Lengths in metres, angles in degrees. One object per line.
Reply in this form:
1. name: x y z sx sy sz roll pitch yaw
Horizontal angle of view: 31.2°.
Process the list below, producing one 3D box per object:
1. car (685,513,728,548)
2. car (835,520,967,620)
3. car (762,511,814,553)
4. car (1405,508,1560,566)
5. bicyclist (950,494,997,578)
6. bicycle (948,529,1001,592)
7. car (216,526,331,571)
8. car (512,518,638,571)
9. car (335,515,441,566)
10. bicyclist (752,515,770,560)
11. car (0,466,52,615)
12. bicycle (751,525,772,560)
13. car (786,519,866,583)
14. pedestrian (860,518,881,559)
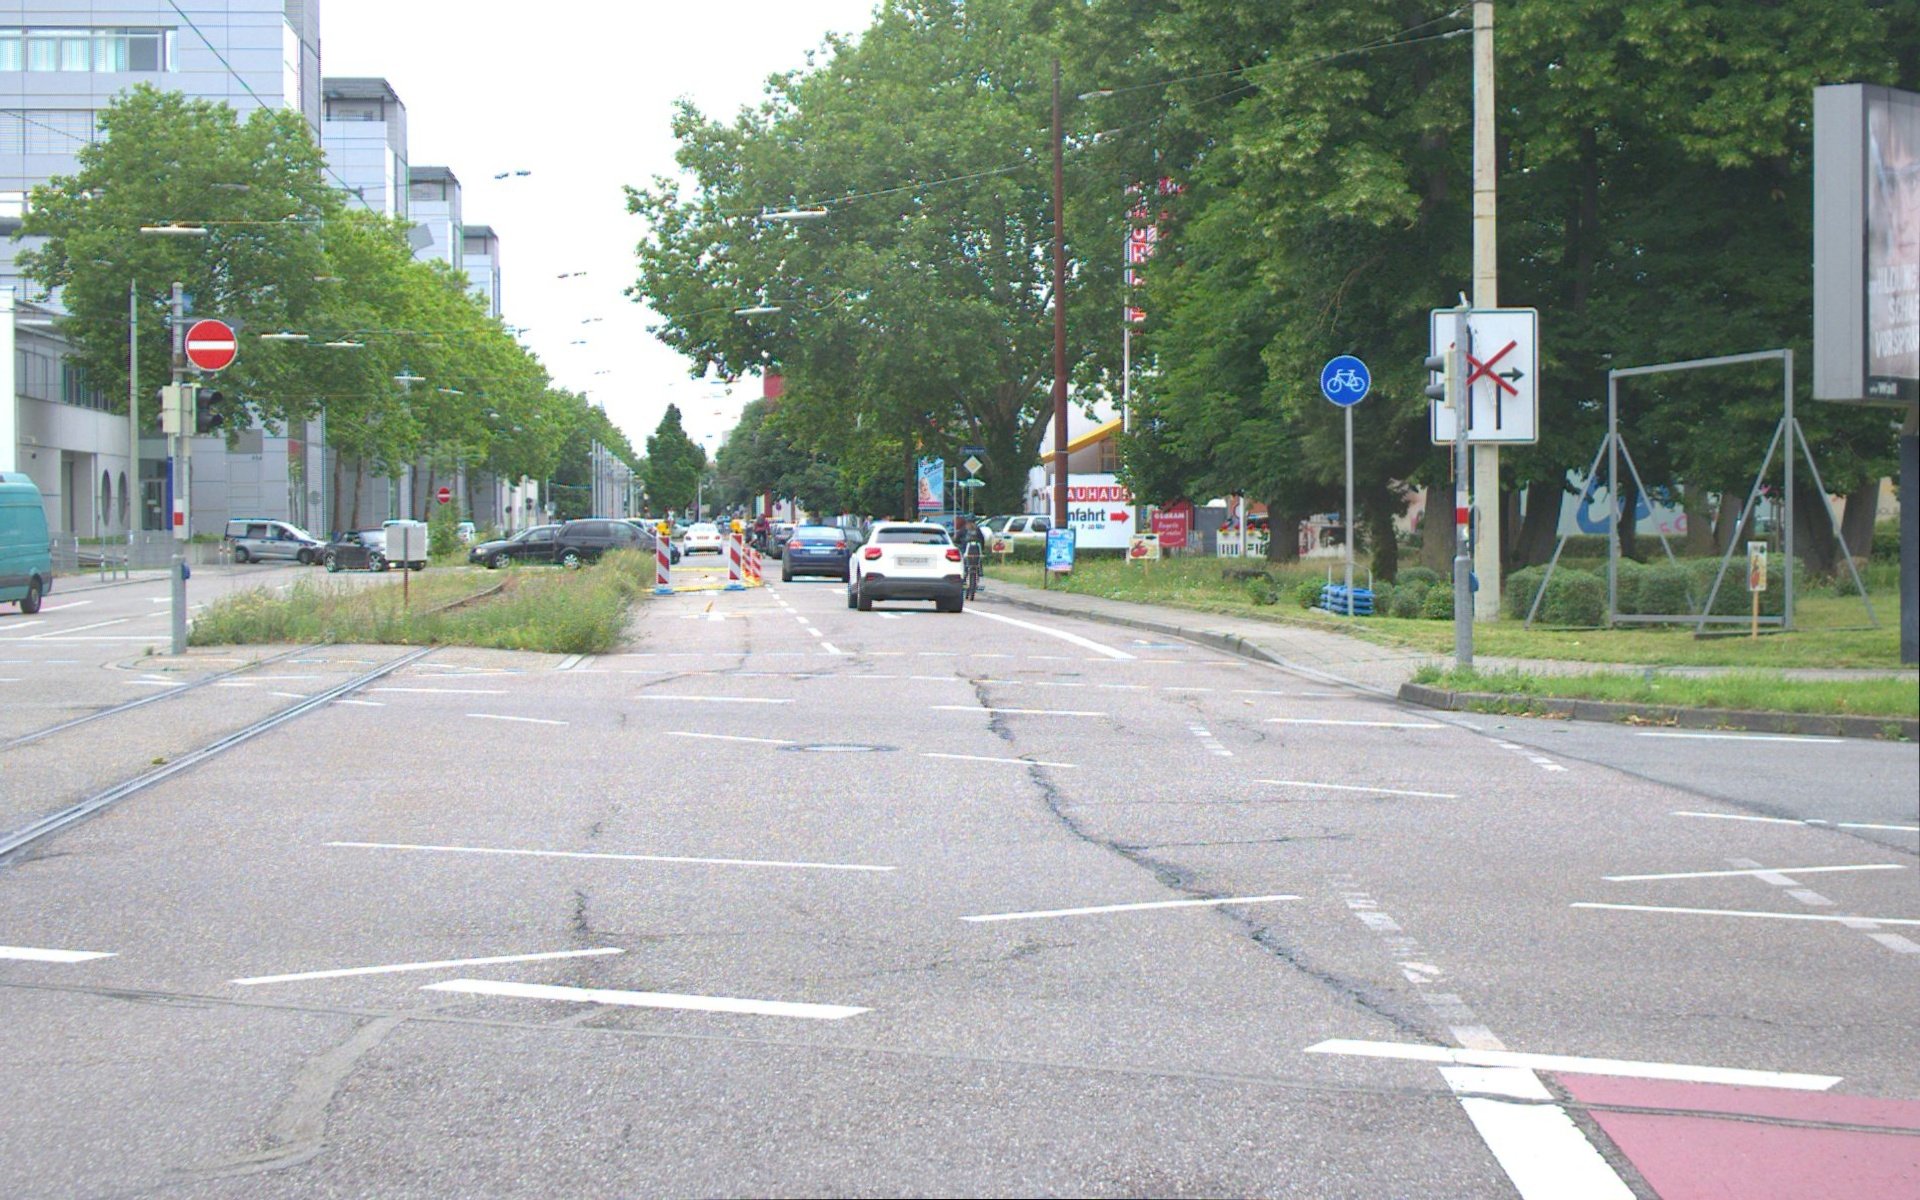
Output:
1. car: -11.815 -3.241 159.997 1.795 1.508 3.707 1 2 -7
2. car: -1.036 -0.535 58.696 1.823 1.594 3.777 1 2 -7
3. car: -6.955 -2.763 138.501 1.876 1.627 4.001 -1 2 -6
4. car: 16.766 -2.033 110.473 4.552 1.784 2.074 0 2 -4
5. bicyclist: 0.265 -1.271 68.014 0.816 1.624 1.235 -1 1 -4
6. bicycle: 0.273 -0.800 68.028 0.816 1.208 2.684 -1 1 -4
7. car: -27.732 -2.094 139.004 4.411 1.777 1.826 -1 1 -6
8. car: -12.135 -1.760 108.525 3.882 1.550 1.826 1 1 -4
9. car: -18.105 -1.866 108.763 1.819 1.470 4.130 -1 0 -32
10. bicyclist: -8.176 -2.561 141.381 0.670 1.809 0.760 1 2 -7
11. car: -19.352 -1.140 65.921 2.328 2.816 5.950 -1 1 -1
12. bicycle: -8.160 -2.359 141.271 0.670 1.389 2.167 1 2 -7
13. car: -3.428 -1.259 87.227 1.684 1.508 3.707 1 2 -7
14. pedestrian: -3.762 -2.597 144.638 0.760 1.699 0.682 -1 1 -9
